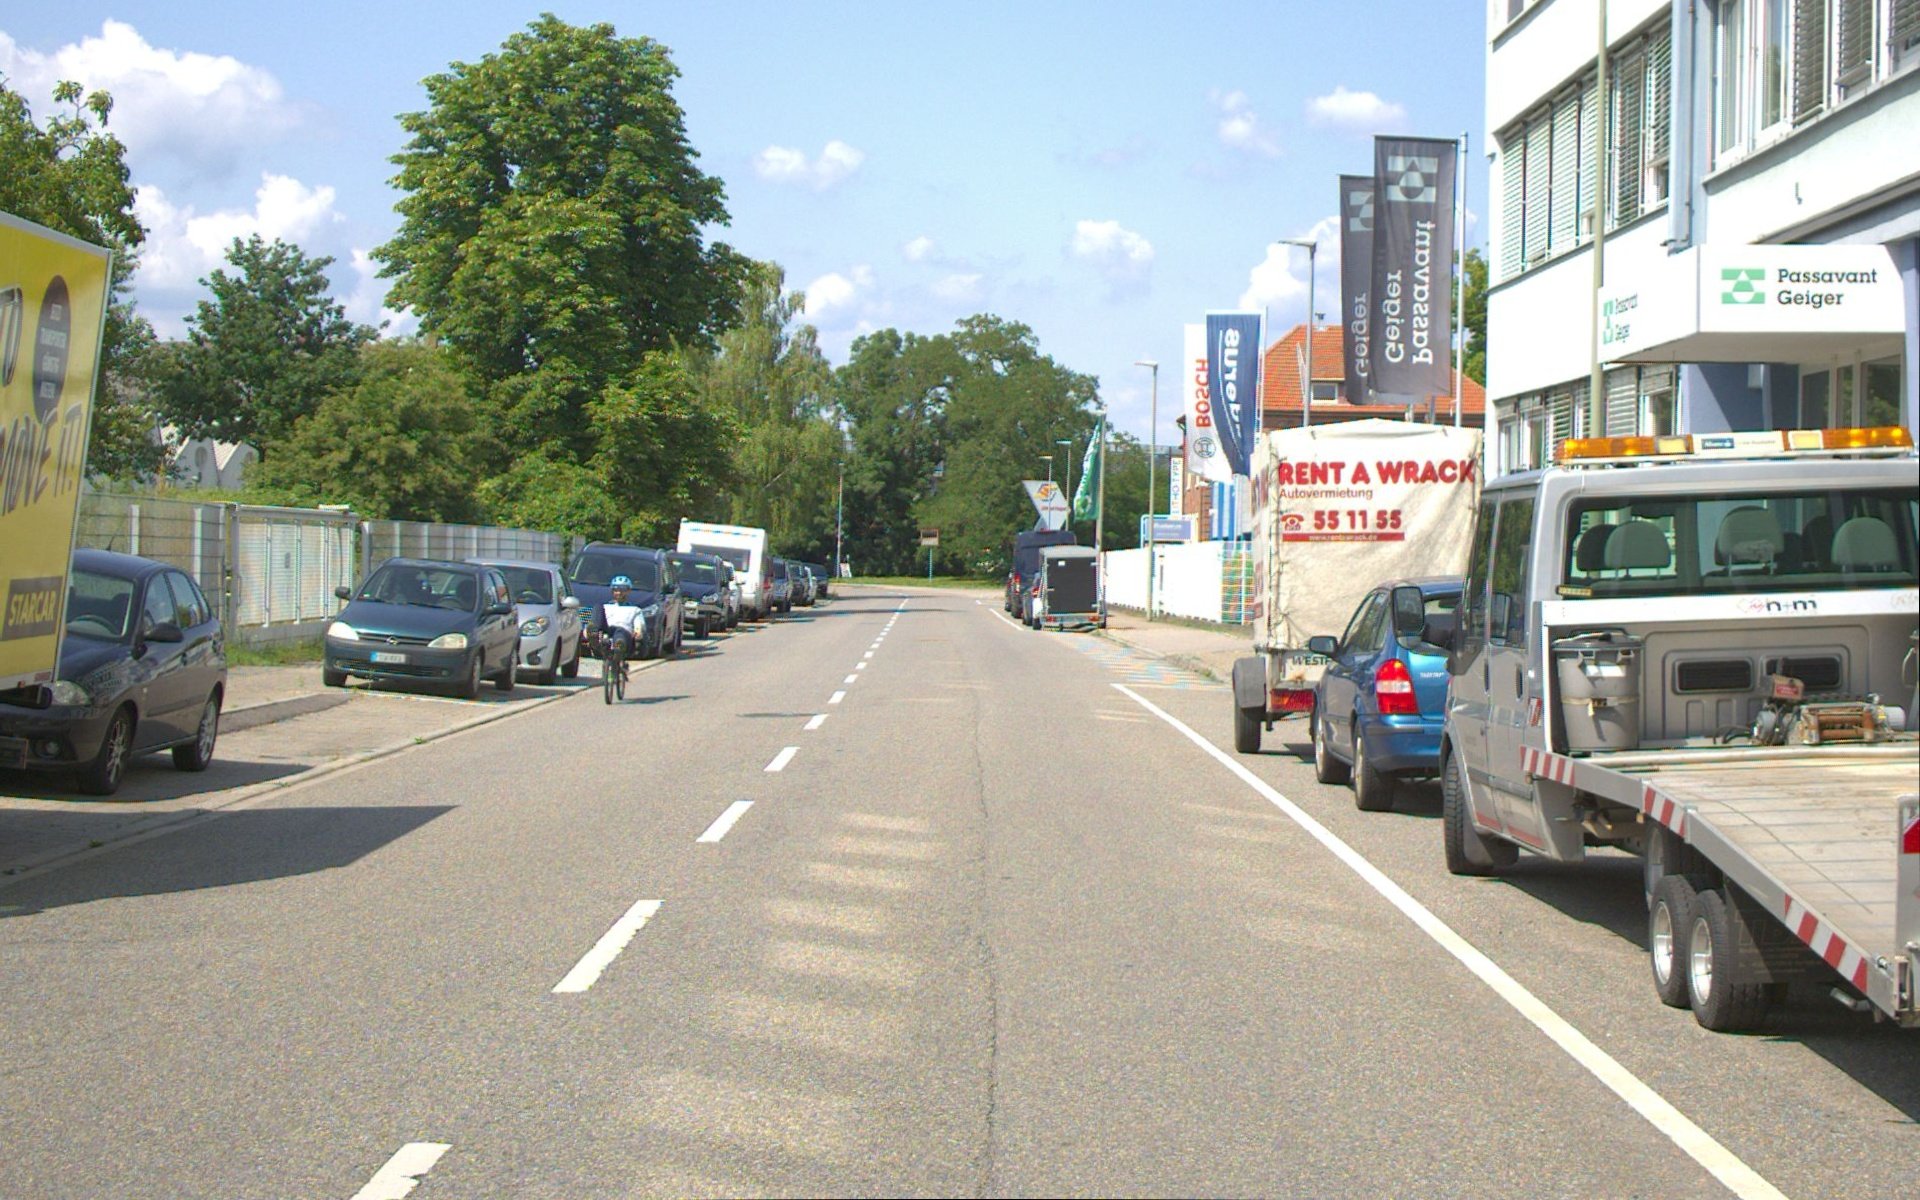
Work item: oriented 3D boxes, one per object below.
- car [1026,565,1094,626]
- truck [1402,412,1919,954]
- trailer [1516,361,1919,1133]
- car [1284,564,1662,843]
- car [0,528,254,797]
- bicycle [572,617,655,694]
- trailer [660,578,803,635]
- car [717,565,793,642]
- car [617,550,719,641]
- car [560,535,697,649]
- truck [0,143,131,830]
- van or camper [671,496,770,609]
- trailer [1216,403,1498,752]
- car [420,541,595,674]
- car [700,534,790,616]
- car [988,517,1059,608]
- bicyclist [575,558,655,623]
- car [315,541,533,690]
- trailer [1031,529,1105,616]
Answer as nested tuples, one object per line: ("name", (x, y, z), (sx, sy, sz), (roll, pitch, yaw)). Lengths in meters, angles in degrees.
("car", (2.583, -0.132, 89.577), (1.572, 1.502, 4.133), (1, 1, -1))
("truck", (3.308, 0.281, 15.367), (1.964, 2.028, 4.734), (1, 1, -1))
("trailer", (3.382, 0.337, 11.633), (1.973, 1.964, 5.766), (1, 1, -1))
("car", (3.145, 0.573, 21.893), (1.718, 1.537, 4.403), (2, 0, 0))
("car", (-5.880, 0.334, 22.382), (1.619, 1.425, 3.827), (7, 1, 0))
("bicycle", (-3.674, 0.575, 36.579), (0.587, 0.739, 2.125), (1, 1, 2))
("trailer", (-4.610, 0.103, 70.449), (2.271, 0.880, 7.132), (5, 1, 1))
("car", (-5.106, 0.060, 85.456), (1.683, 1.686, 4.446), (5, 1, -4))
("car", (-5.161, -0.106, 61.063), (1.577, 1.507, 4.202), (2, 1, -2))
("car", (-5.298, -0.159, 55.373), (1.801, 1.744, 4.713), (1, 1, -1))
("truck", (-5.768, -0.568, 15.418), (2.250, 3.350, 6.907), (5, 1, -1))
("van or camper", (-6.532, -1.296, 94.311), (2.262, 2.794, 6.834), (5, 1, -2))
("trailer", (3.115, -0.209, 27.874), (1.869, 2.544, 5.071), (1, 1, 2))
("car", (-5.539, 0.061, 42.440), (1.615, 1.478, 3.710), (3, 1, 0))
("car", (-4.896, -0.591, 78.889), (1.827, 1.787, 4.736), (1, 1, -1))
("car", (1.940, -1.188, 107.106), (1.937, 2.739, 6.155), (1, 1, -1))
("bicyclist", (-3.658, -0.109, 36.544), (0.566, 0.629, 1.857), (2, 1, 3))
("car", (-5.793, 0.126, 37.504), (1.569, 1.394, 3.799), (6, 1, 1))
("trailer", (2.597, -0.678, 83.385), (1.601, 2.030, 2.741), (2, 1, -1))
